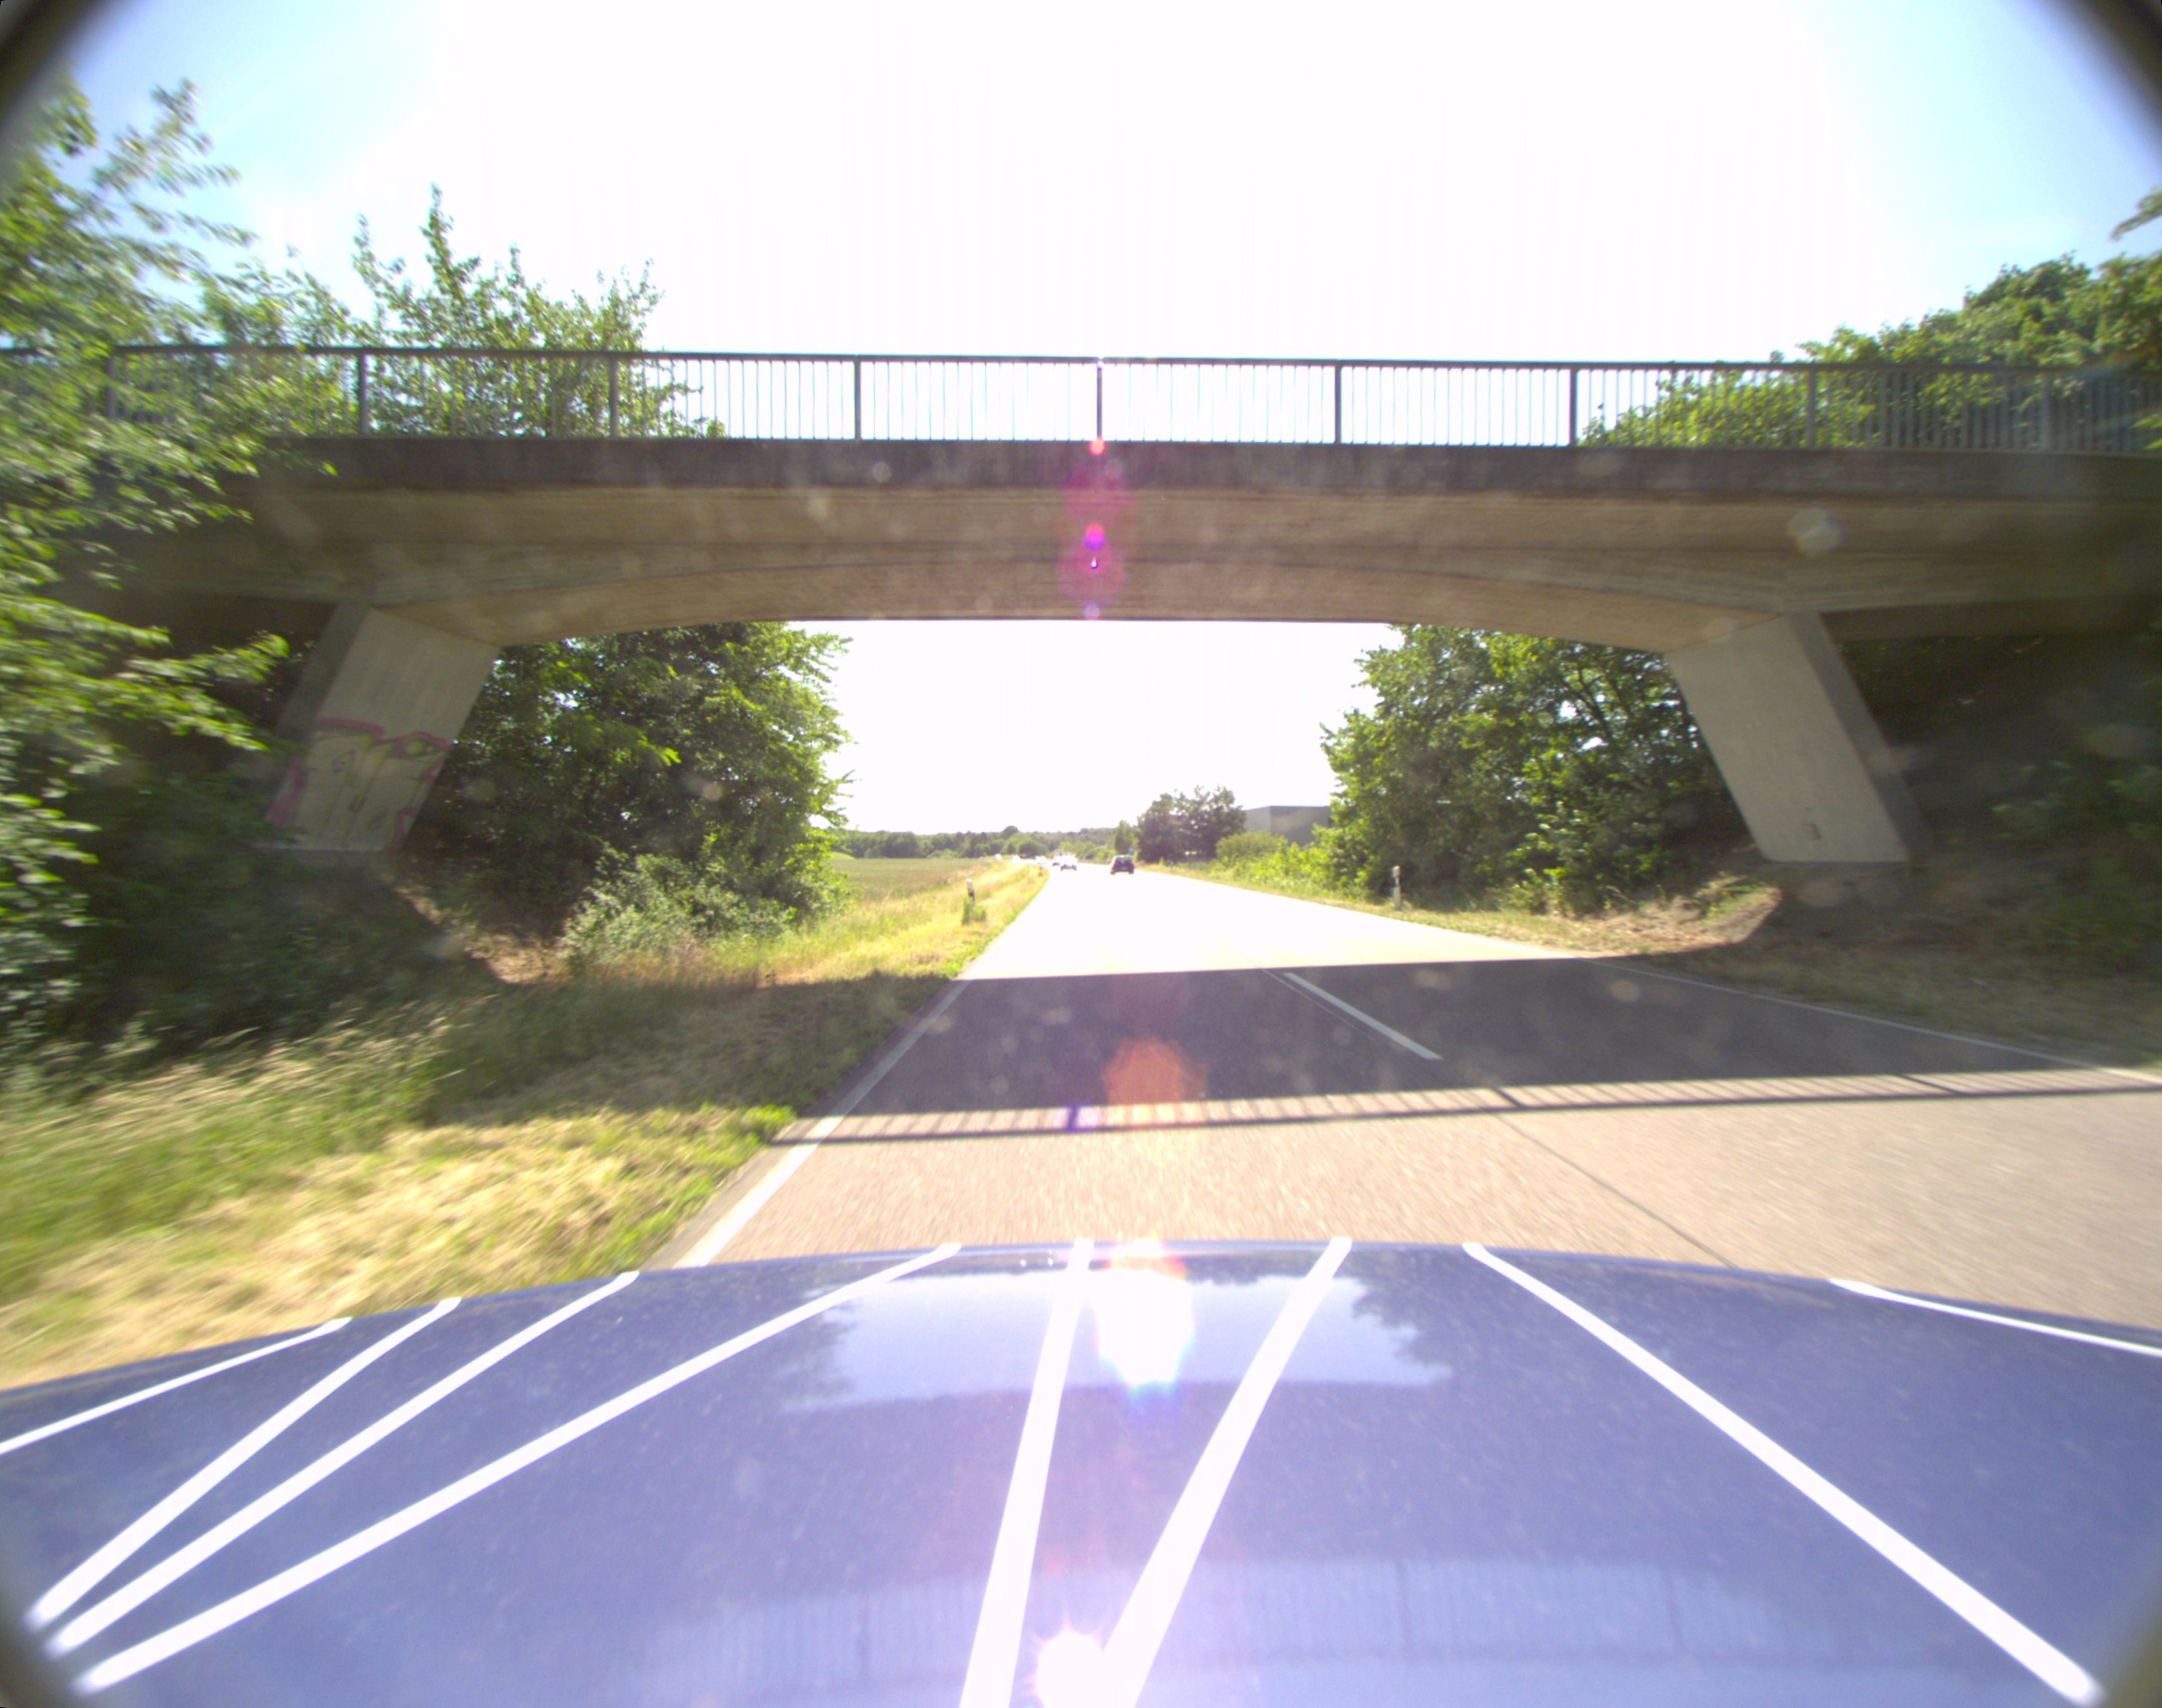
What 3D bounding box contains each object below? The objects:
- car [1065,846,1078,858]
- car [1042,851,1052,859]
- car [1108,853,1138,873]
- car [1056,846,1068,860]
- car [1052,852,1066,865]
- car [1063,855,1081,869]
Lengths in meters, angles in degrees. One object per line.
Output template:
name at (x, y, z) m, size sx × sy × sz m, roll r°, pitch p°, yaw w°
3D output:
car at (-2.453, -0.423, 196.676) m, size 3.034 × 2.987 × 7.843 m, roll 1°, pitch 0°, yaw 1°
car at (-7.532, 0.291, 167.592) m, size 1.553 × 1.659 × 4.001 m, roll -2°, pitch 1°, yaw 4°
car at (3.284, 0.675, 60.848) m, size 1.999 × 1.521 × 5.507 m, roll -1°, pitch 0°, yaw -1°
car at (-4.270, -0.265, 170.155) m, size 2.296 × 2.612 × 4.971 m, roll 1°, pitch 6°, yaw -4°
car at (-3.394, 0.626, 119.625) m, size 1.998 × 2.002 × 4.000 m, roll 0°, pitch 0°, yaw 1°
car at (-0.937, 0.812, 79.888) m, size 1.693 × 1.431 × 3.710 m, roll -2°, pitch 0°, yaw 1°
